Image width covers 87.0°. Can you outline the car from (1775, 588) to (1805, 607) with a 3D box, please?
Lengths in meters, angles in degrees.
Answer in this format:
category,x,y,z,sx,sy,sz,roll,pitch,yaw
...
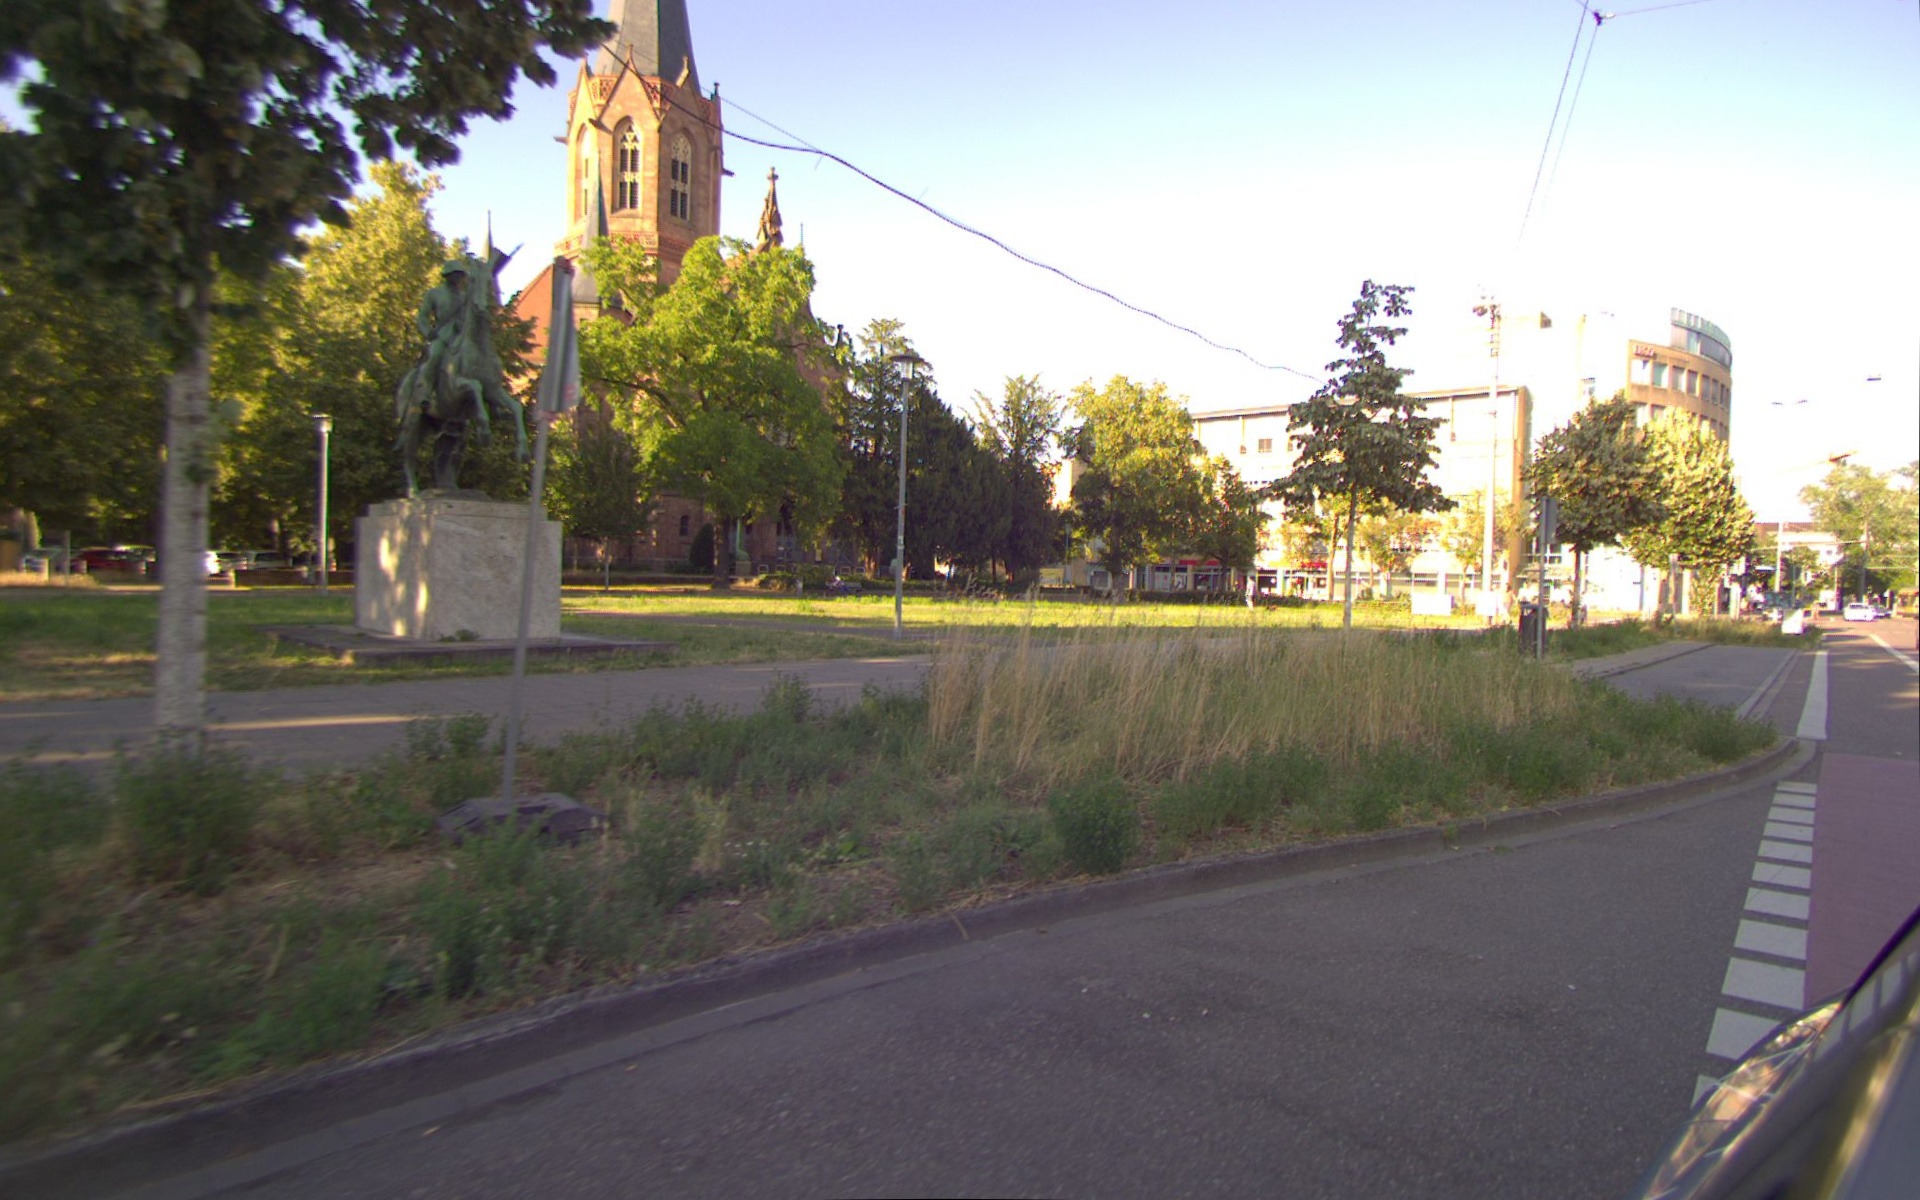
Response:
category,x,y,z,sx,sy,sz,roll,pitch,yaw
car,66.646,-0.195,81.200,1.763,1.491,3.955,0,1,41

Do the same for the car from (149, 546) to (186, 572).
category,x,y,z,sx,sy,sz,roll,pitch,yaw
car,-47.882,-2.470,61.147,1.537,1.467,3.502,0,2,-42

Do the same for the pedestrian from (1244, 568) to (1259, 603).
category,x,y,z,sx,sy,sz,roll,pitch,yaw
pedestrian,14.627,-0.726,50.769,0.632,1.760,0.595,2,1,9

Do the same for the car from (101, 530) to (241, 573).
category,x,y,z,sx,sy,sz,roll,pitch,yaw
car,-35.063,-2.136,45.077,1.988,1.739,4.579,3,3,35

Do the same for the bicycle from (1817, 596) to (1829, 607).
category,x,y,z,sx,sy,sz,roll,pitch,yaw
bicycle,71.296,0.129,83.630,0.607,0.940,1.748,3,2,44

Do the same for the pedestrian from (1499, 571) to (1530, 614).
category,x,y,z,sx,sy,sz,roll,pitch,yaw
pedestrian,22.331,-0.293,40.780,0.901,1.670,0.740,1,4,-44

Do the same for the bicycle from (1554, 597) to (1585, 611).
category,x,y,z,sx,sy,sz,roll,pitch,yaw
bicycle,47.491,0.270,78.901,1.952,1.064,0.697,0,0,18

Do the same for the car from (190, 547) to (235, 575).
category,x,y,z,sx,sy,sz,roll,pitch,yaw
car,-43.372,-2.255,58.699,1.602,1.528,4.149,0,2,-43

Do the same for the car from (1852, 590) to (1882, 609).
category,x,y,z,sx,sy,sz,roll,pitch,yaw
car,75.067,-0.056,83.774,1.763,1.491,3.955,0,1,41

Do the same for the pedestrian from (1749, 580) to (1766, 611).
category,x,y,z,sx,sy,sz,roll,pitch,yaw
pedestrian,45.651,-0.250,57.940,0.650,1.746,0.703,2,2,44

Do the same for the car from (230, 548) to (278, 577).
category,x,y,z,sx,sy,sz,roll,pitch,yaw
car,-38.776,-2.038,55.546,1.571,1.529,4.149,0,2,-43

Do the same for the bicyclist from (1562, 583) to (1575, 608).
category,x,y,z,sx,sy,sz,roll,pitch,yaw
bicyclist,47.448,-0.333,78.921,0.688,1.963,0.575,0,0,17

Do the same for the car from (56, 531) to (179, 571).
category,x,y,z,sx,sy,sz,roll,pitch,yaw
car,-38.400,-2.221,46.197,1.864,1.650,4.097,3,2,40

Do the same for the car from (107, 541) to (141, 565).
category,x,y,z,sx,sy,sz,roll,pitch,yaw
car,-52.482,-2.928,63.531,1.537,1.467,3.502,0,2,-42

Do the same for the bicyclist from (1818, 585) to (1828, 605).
category,x,y,z,sx,sy,sz,roll,pitch,yaw
bicyclist,71.347,-0.389,83.665,0.551,1.630,0.819,2,1,45

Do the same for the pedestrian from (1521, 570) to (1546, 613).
category,x,y,z,sx,sy,sz,roll,pitch,yaw
pedestrian,23.565,-0.350,41.603,0.769,1.709,0.598,1,3,-44

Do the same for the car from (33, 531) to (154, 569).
category,x,y,z,sx,sy,sz,roll,pitch,yaw
car,-40.773,-2.350,47.693,1.864,1.638,4.097,3,2,40
